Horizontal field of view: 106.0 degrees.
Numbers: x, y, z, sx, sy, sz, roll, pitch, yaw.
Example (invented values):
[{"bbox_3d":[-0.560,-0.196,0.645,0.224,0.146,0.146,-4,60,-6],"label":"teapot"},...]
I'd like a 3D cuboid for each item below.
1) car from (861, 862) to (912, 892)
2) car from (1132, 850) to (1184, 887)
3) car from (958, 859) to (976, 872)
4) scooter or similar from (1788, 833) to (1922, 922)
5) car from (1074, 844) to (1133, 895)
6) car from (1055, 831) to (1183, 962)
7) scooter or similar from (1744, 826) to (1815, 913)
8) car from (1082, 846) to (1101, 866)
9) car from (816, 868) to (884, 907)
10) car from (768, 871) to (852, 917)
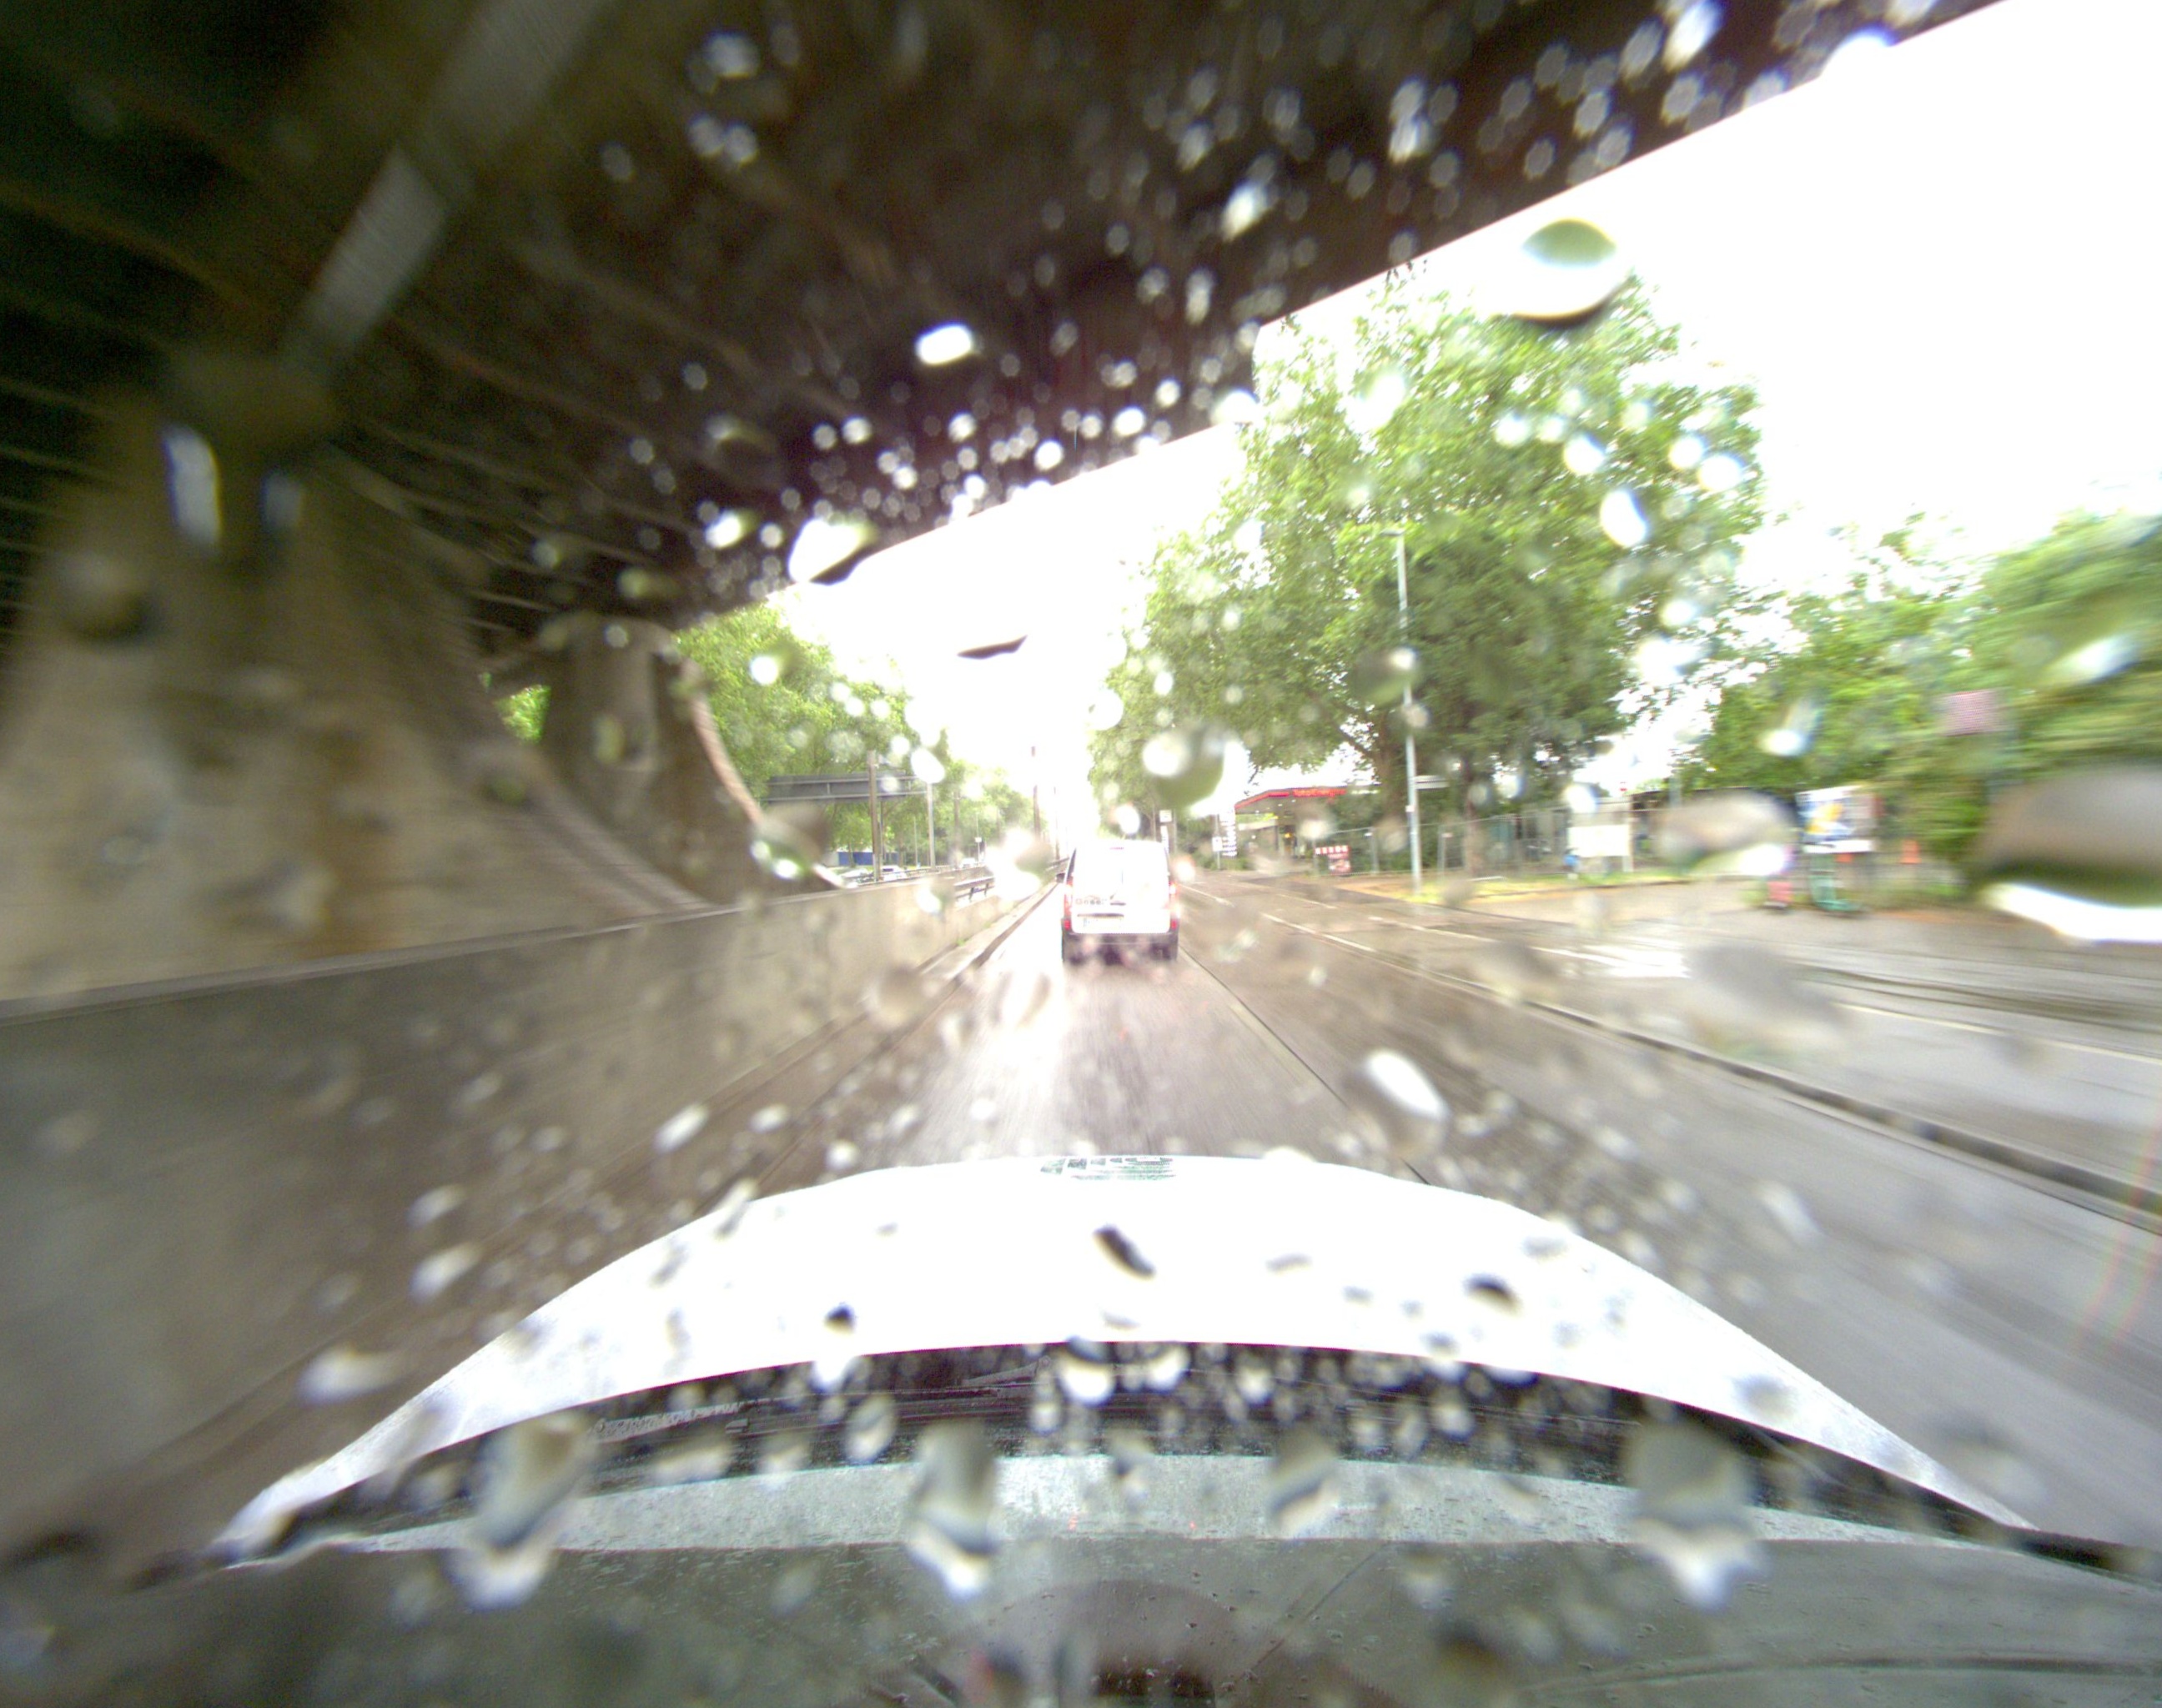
[{"bbox_3d":[-11.767,1.347,49.536,1.988,1.632,4.578,-3,0,-1],"label":"car"},{"bbox_3d":[3.698,0.676,39.749,1.988,1.585,3.997,-4,0,-2],"label":"car"},{"bbox_3d":[-14.534,1.445,104.103,1.905,1.571,3.992,-4,0,-5],"label":"car"},{"bbox_3d":[11.354,0.312,12.021,0.764,1.178,1.555,-6,-1,18],"label":"scooter or similar"},{"bbox_3d":[0.798,0.534,29.901,1.911,1.609,4.000,-4,0,0],"label":"car"},{"bbox_3d":[0.504,0.604,13.393,1.751,1.777,3.998,-2,-1,-1],"label":"car"},{"bbox_3d":[11.711,0.240,13.667,0.701,1.310,1.568,-10,-4,41],"label":"scooter or similar"},{"bbox_3d":[1.216,0.216,95.906,2.041,2.140,4.002,-3,0,2],"label":"car"},{"bbox_3d":[-11.293,1.619,40.171,1.986,1.632,4.090,-3,0,2],"label":"car"},{"bbox_3d":[-11.397,1.623,34.509,1.986,1.632,4.090,-3,0,2],"label":"car"}]
